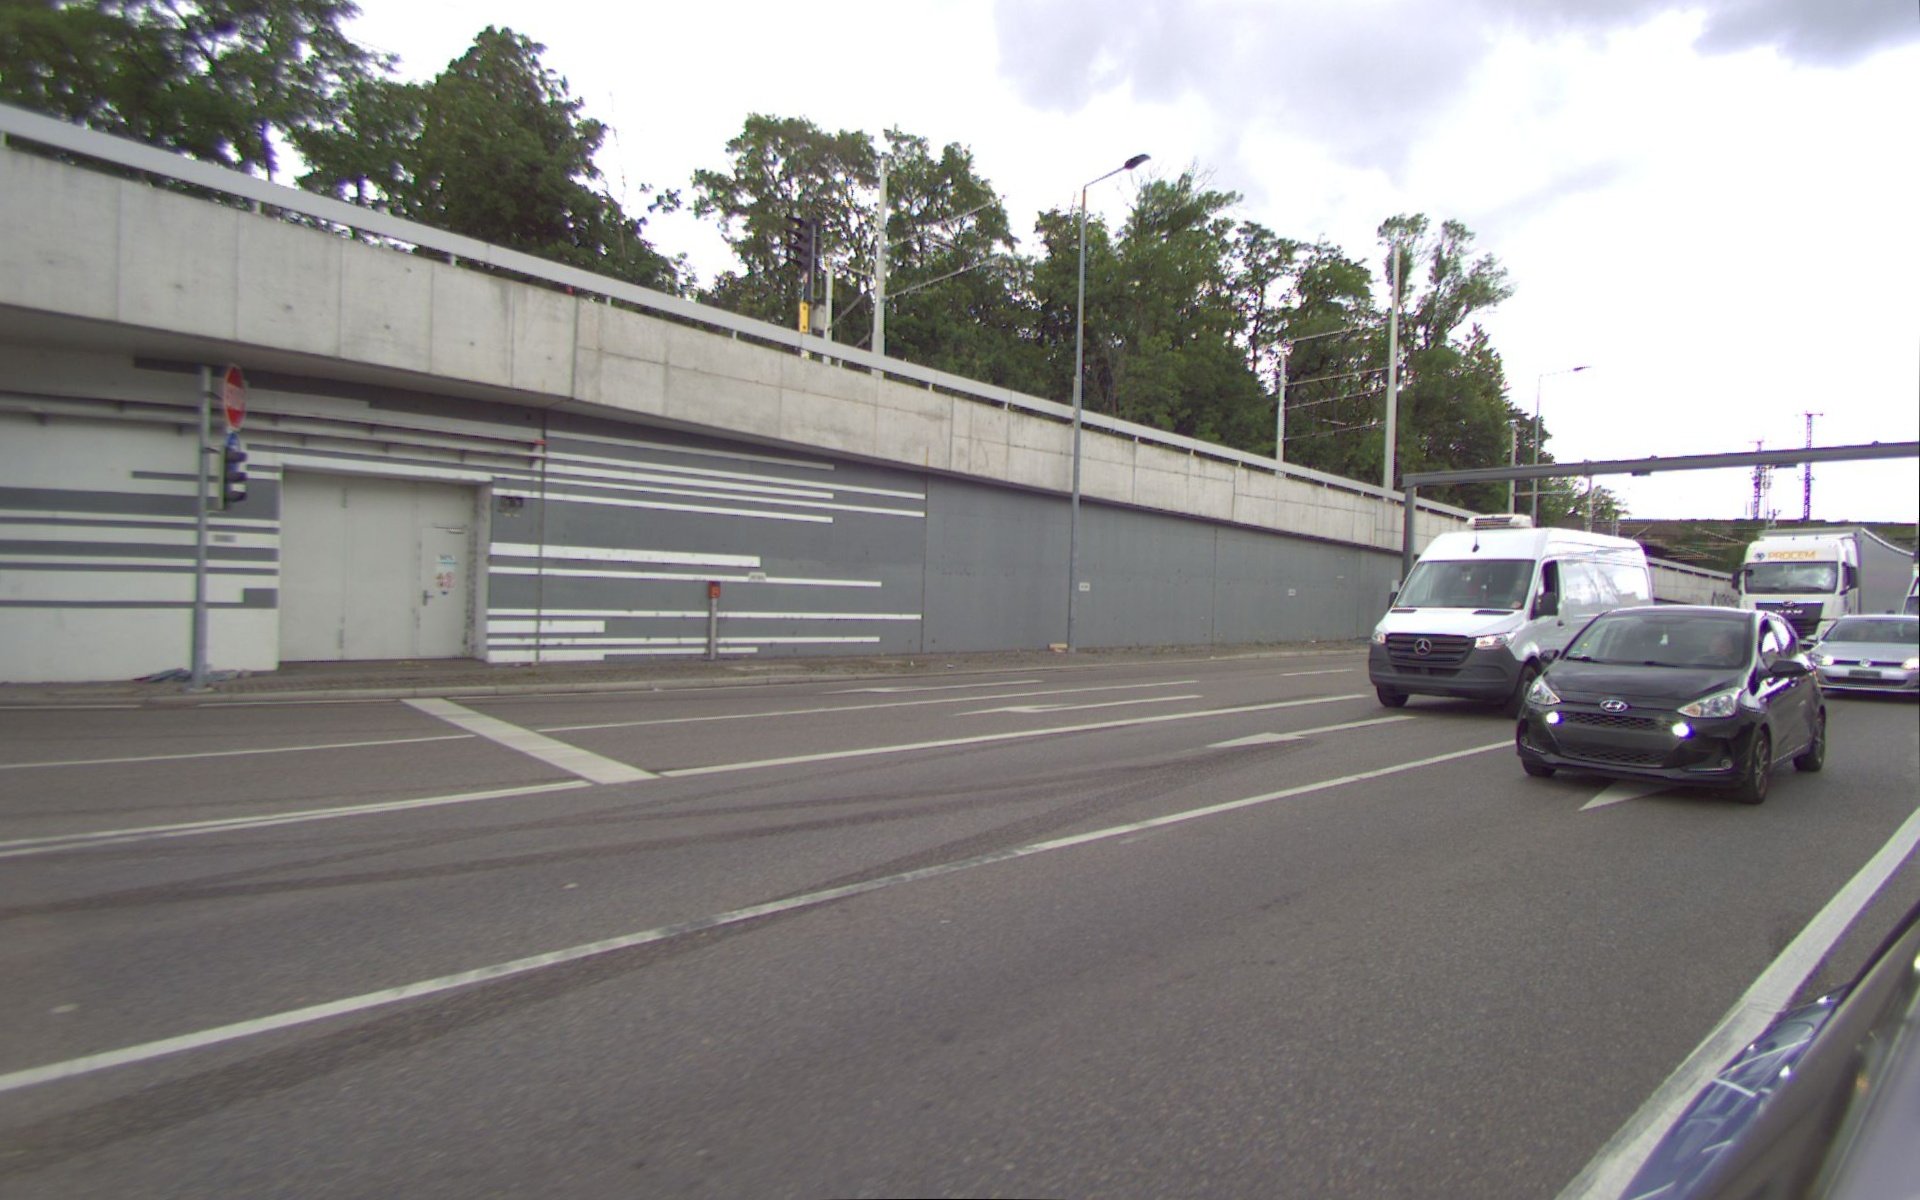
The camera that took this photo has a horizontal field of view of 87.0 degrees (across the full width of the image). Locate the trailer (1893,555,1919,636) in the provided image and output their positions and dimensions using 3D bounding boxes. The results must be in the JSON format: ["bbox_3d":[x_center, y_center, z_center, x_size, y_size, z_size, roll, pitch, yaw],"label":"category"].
[{"bbox_3d":[54.750,-0.177,55.754,10.790,4.195,3.730,1,-2,-41],"label":"trailer"}]

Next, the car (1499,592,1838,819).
[{"bbox_3d":[6.293,0.737,8.847,3.630,1.564,1.684,0,-1,-43],"label":"car"}]

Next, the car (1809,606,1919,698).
[{"bbox_3d":[16.212,0.823,17.531,3.969,1.400,1.766,0,1,-42],"label":"car"}]

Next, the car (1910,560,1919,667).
[{"bbox_3d":[26.789,0.384,26.647,5.840,2.663,2.059,3,-5,-43],"label":"car"}]

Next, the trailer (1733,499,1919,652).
[{"bbox_3d":[31.641,-0.638,36.279,11.899,4.691,3.811,1,-2,-41],"label":"trailer"}]

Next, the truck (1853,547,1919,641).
[{"bbox_3d":[46.494,-0.186,48.805,10.790,4.195,3.730,1,-2,-41],"label":"truck"}]

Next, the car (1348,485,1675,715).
[{"bbox_3d":[8.743,0.053,15.571,7.198,2.808,2.078,1,-1,-41],"label":"car"}]

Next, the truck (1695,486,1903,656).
[{"bbox_3d":[26.447,-0.735,31.806,7.310,4.691,3.811,1,-2,-41],"label":"truck"}]
